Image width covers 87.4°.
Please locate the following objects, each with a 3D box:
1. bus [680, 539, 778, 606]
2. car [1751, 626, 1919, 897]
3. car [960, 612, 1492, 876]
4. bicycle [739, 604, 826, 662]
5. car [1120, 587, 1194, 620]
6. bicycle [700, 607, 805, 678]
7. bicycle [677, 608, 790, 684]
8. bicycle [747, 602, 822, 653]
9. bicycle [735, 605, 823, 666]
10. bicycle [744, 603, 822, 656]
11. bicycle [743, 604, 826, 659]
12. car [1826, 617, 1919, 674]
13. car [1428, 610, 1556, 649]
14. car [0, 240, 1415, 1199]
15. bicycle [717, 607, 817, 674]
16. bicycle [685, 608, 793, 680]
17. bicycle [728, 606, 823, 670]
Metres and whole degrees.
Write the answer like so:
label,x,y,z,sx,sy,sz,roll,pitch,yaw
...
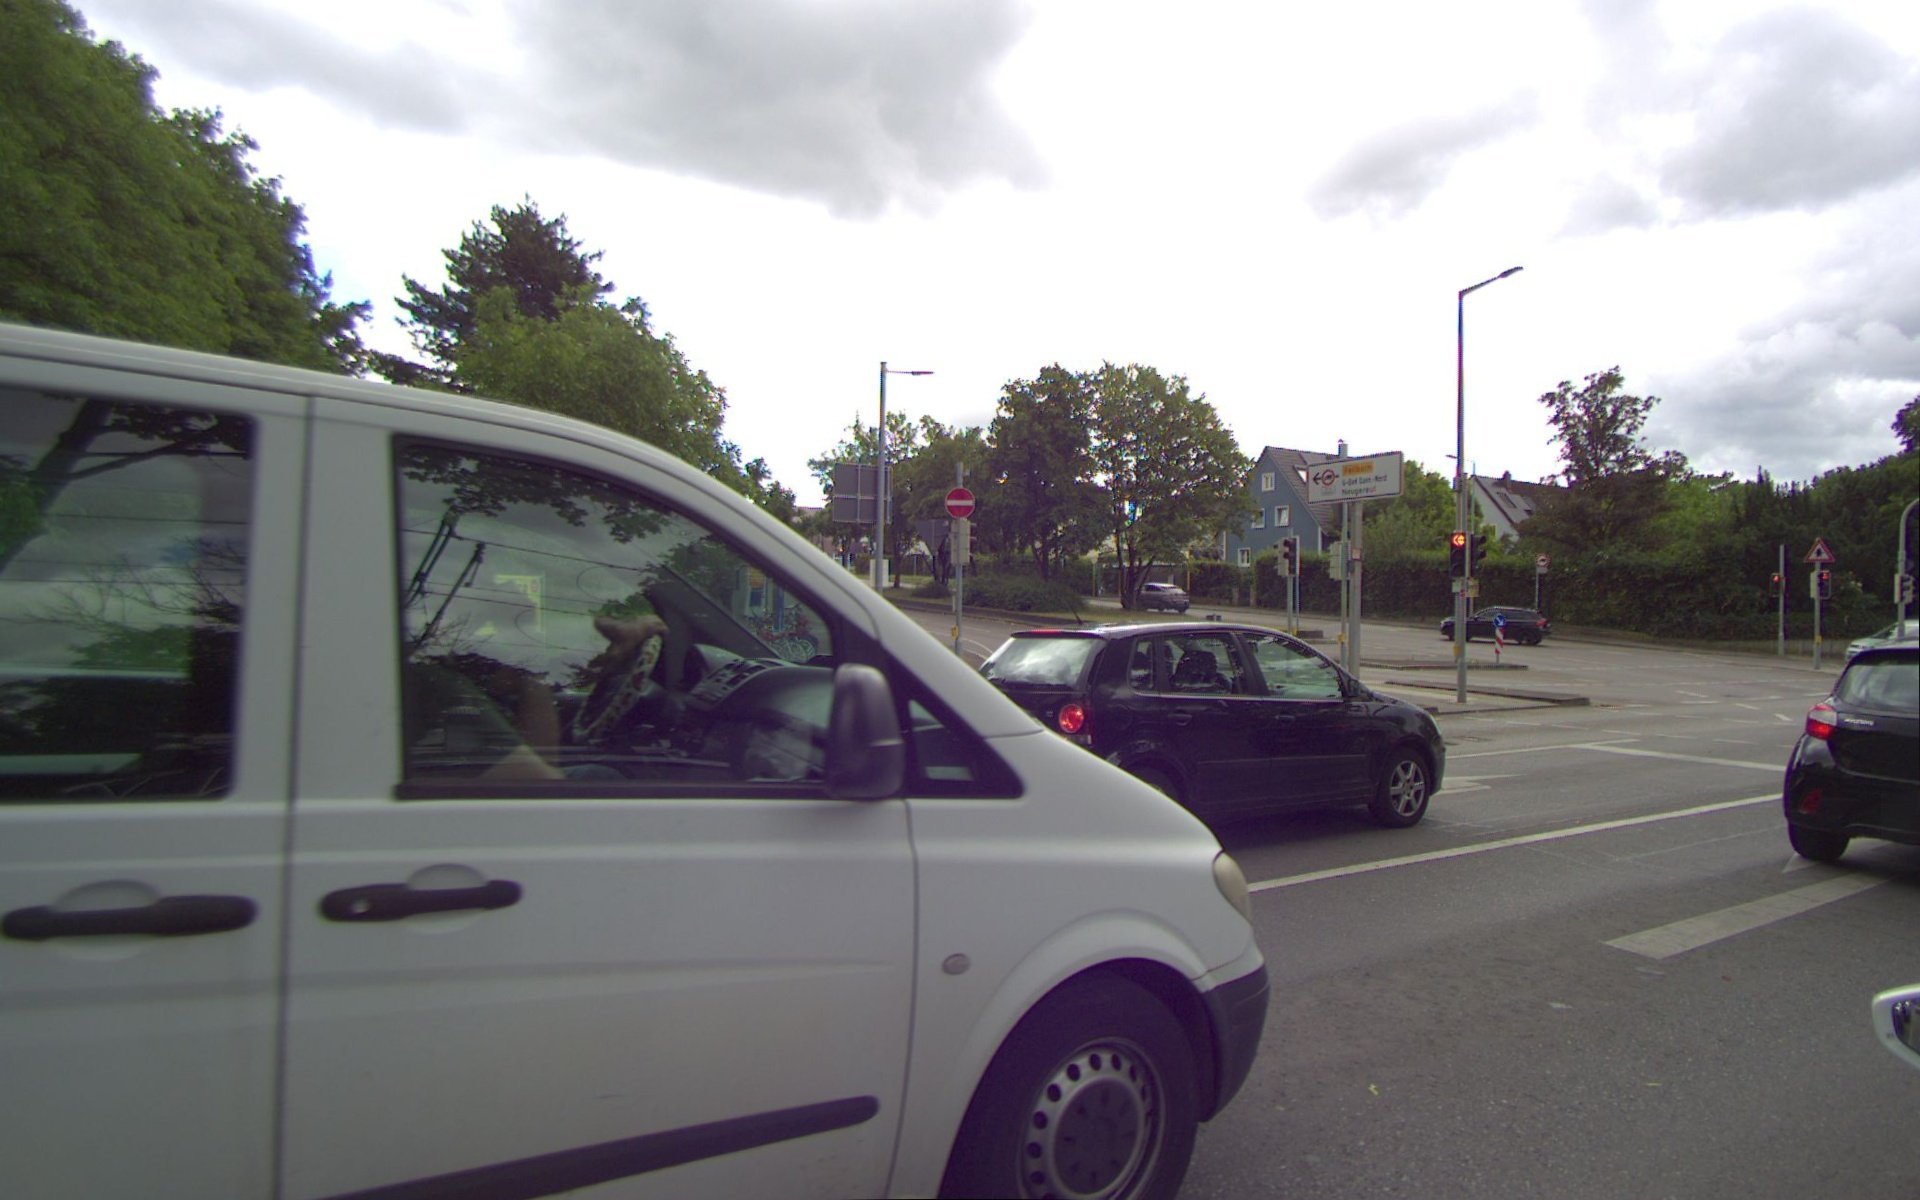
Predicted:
label,x,y,z,sx,sy,sz,roll,pitch,yaw
bus,-13.503,-1.714,57.648,2.645,3.205,12.264,2,3,-26
car,6.987,0.965,6.523,3.624,1.500,1.695,2,0,-30
car,2.002,0.880,7.301,3.762,1.486,1.549,1,-2,-30
bicycle,-4.202,0.781,23.848,1.896,1.269,0.546,2,1,4
car,11.524,0.174,58.973,1.925,1.836,4.412,2,0,-27
bicycle,-4.073,0.824,19.708,1.896,1.269,0.546,3,1,8
bicycle,-4.134,0.833,18.349,1.896,1.269,0.546,3,1,8
bicycle,-4.650,0.737,26.610,1.902,1.269,0.544,2,1,-13
bicycle,-4.072,0.798,22.586,1.902,1.269,0.544,2,1,-13
bicycle,-4.552,0.748,25.901,1.900,1.269,0.545,2,1,-8
bicycle,-4.318,0.768,24.787,1.896,1.269,0.546,2,1,4
car,34.005,1.635,35.861,4.453,1.899,1.948,2,0,-1
car,22.400,1.200,42.388,4.473,1.443,1.940,2,0,40
car,-1.583,0.503,2.047,5.219,1.867,1.898,2,0,-30
bicycle,-3.966,0.820,20.670,1.896,1.269,0.546,3,1,8
bicycle,-4.188,0.824,19.052,1.896,1.269,0.546,2,1,8
bicycle,-3.965,0.812,21.599,1.896,1.269,0.546,3,1,8
